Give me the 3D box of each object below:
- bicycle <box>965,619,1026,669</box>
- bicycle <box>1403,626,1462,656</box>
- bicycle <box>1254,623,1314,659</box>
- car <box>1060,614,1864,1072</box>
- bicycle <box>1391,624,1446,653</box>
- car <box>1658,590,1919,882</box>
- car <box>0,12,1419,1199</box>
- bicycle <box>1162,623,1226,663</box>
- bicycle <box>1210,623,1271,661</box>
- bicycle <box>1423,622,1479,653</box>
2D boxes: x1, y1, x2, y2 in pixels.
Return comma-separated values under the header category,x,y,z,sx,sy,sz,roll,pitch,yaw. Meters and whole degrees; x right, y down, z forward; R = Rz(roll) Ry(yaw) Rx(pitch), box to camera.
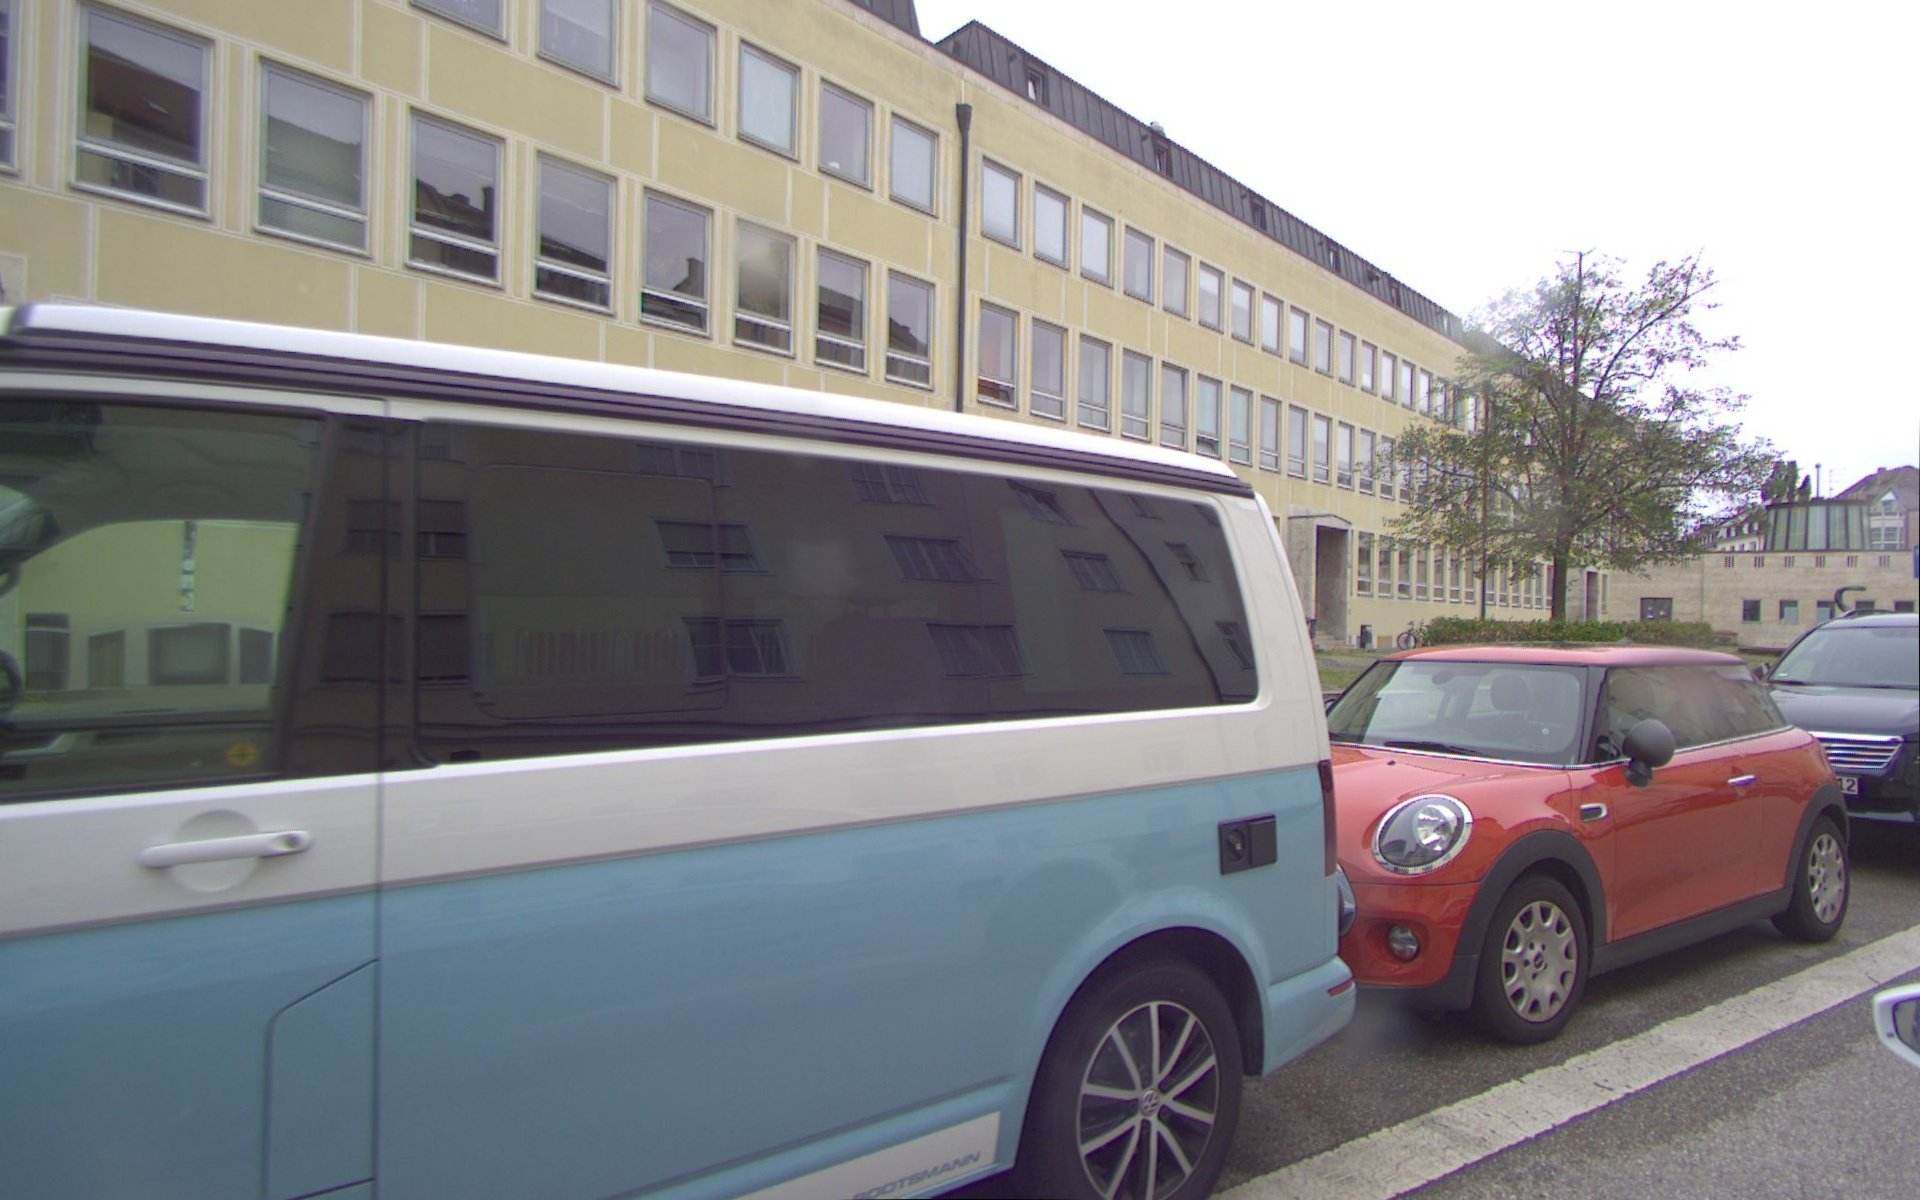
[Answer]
category,x,y,z,sx,sy,sz,roll,pitch,yaw
bicycle,0.736,0.917,21.171,0.411,0.957,1.394,2,1,-42
bicycle,17.302,1.497,36.828,0.411,0.957,1.933,2,1,-42
bicycle,9.601,1.212,29.807,1.583,0.957,0.501,2,1,36
car,2.492,0.840,4.876,3.666,1.425,1.796,2,-3,-31
bicycle,17.293,1.443,37.891,1.837,0.957,0.412,2,1,42
car,7.113,0.859,7.396,4.093,1.712,1.706,2,-2,-31
car,-1.273,0.297,2.316,4.908,1.986,1.904,1,-2,-33
bicycle,6.209,1.129,26.672,1.586,0.957,0.501,2,1,42
bicycle,7.866,1.170,28.199,1.586,0.957,0.501,2,1,42
bicycle,19.400,1.459,39.713,1.825,1.110,0.698,3,1,43
